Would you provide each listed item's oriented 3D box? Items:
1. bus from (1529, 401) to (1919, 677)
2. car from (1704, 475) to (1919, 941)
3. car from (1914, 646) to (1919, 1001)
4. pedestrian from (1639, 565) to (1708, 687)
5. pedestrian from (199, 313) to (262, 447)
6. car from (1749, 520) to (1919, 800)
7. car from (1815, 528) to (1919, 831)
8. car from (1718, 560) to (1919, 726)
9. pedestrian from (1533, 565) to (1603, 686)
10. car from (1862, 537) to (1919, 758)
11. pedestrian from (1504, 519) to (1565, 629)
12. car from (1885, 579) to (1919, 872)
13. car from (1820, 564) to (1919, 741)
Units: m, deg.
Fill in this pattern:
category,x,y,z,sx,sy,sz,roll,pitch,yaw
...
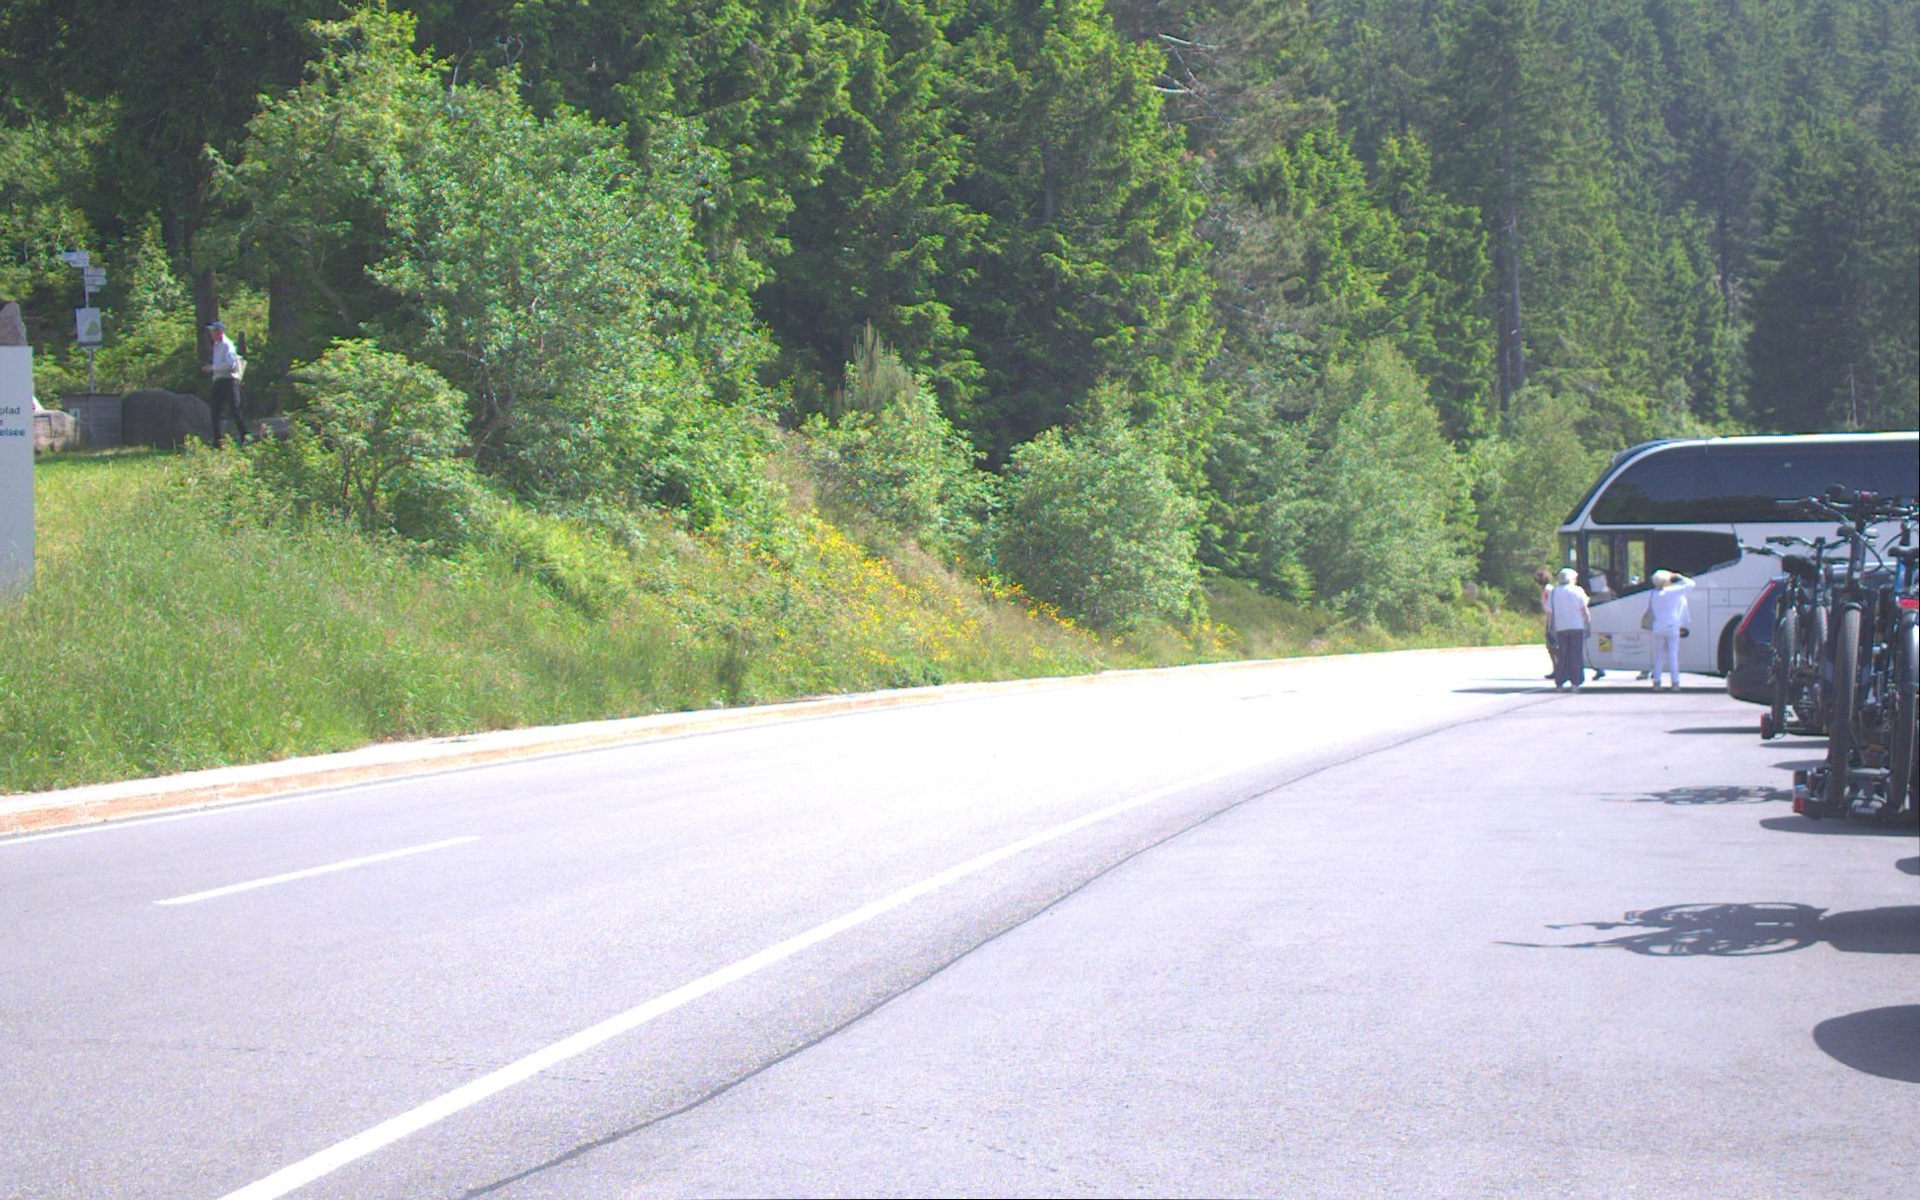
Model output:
category,x,y,z,sx,sy,sz,roll,pitch,yaw
bus,14.447,-0.904,45.825,13.108,3.520,3.040,-2,0,22
car,5.394,0.348,13.011,4.952,1.690,1.944,-1,0,14
car,5.054,0.645,10.100,4.082,1.372,1.702,1,1,6
pedestrian,9.428,0.339,45.408,0.771,1.580,0.772,-2,0,18
pedestrian,-10.487,-3.155,49.436,0.680,1.871,0.542,-2,0,6
car,7.455,0.291,21.031,5.036,1.645,2.047,-2,0,12
car,6.762,0.346,18.171,4.246,1.548,1.837,-2,0,12
car,9.019,0.352,31.484,3.989,1.444,1.860,-2,0,12
pedestrian,8.128,0.333,45.919,0.771,1.580,0.772,-2,0,18
car,8.600,0.277,24.664,3.989,1.548,1.659,-2,0,12
pedestrian,8.963,-0.405,53.665,0.854,1.677,0.870,-2,0,7
car,6.444,0.488,15.521,4.246,1.264,1.837,-2,0,12
car,9.103,0.369,27.976,3.989,1.393,1.619,-2,0,12
